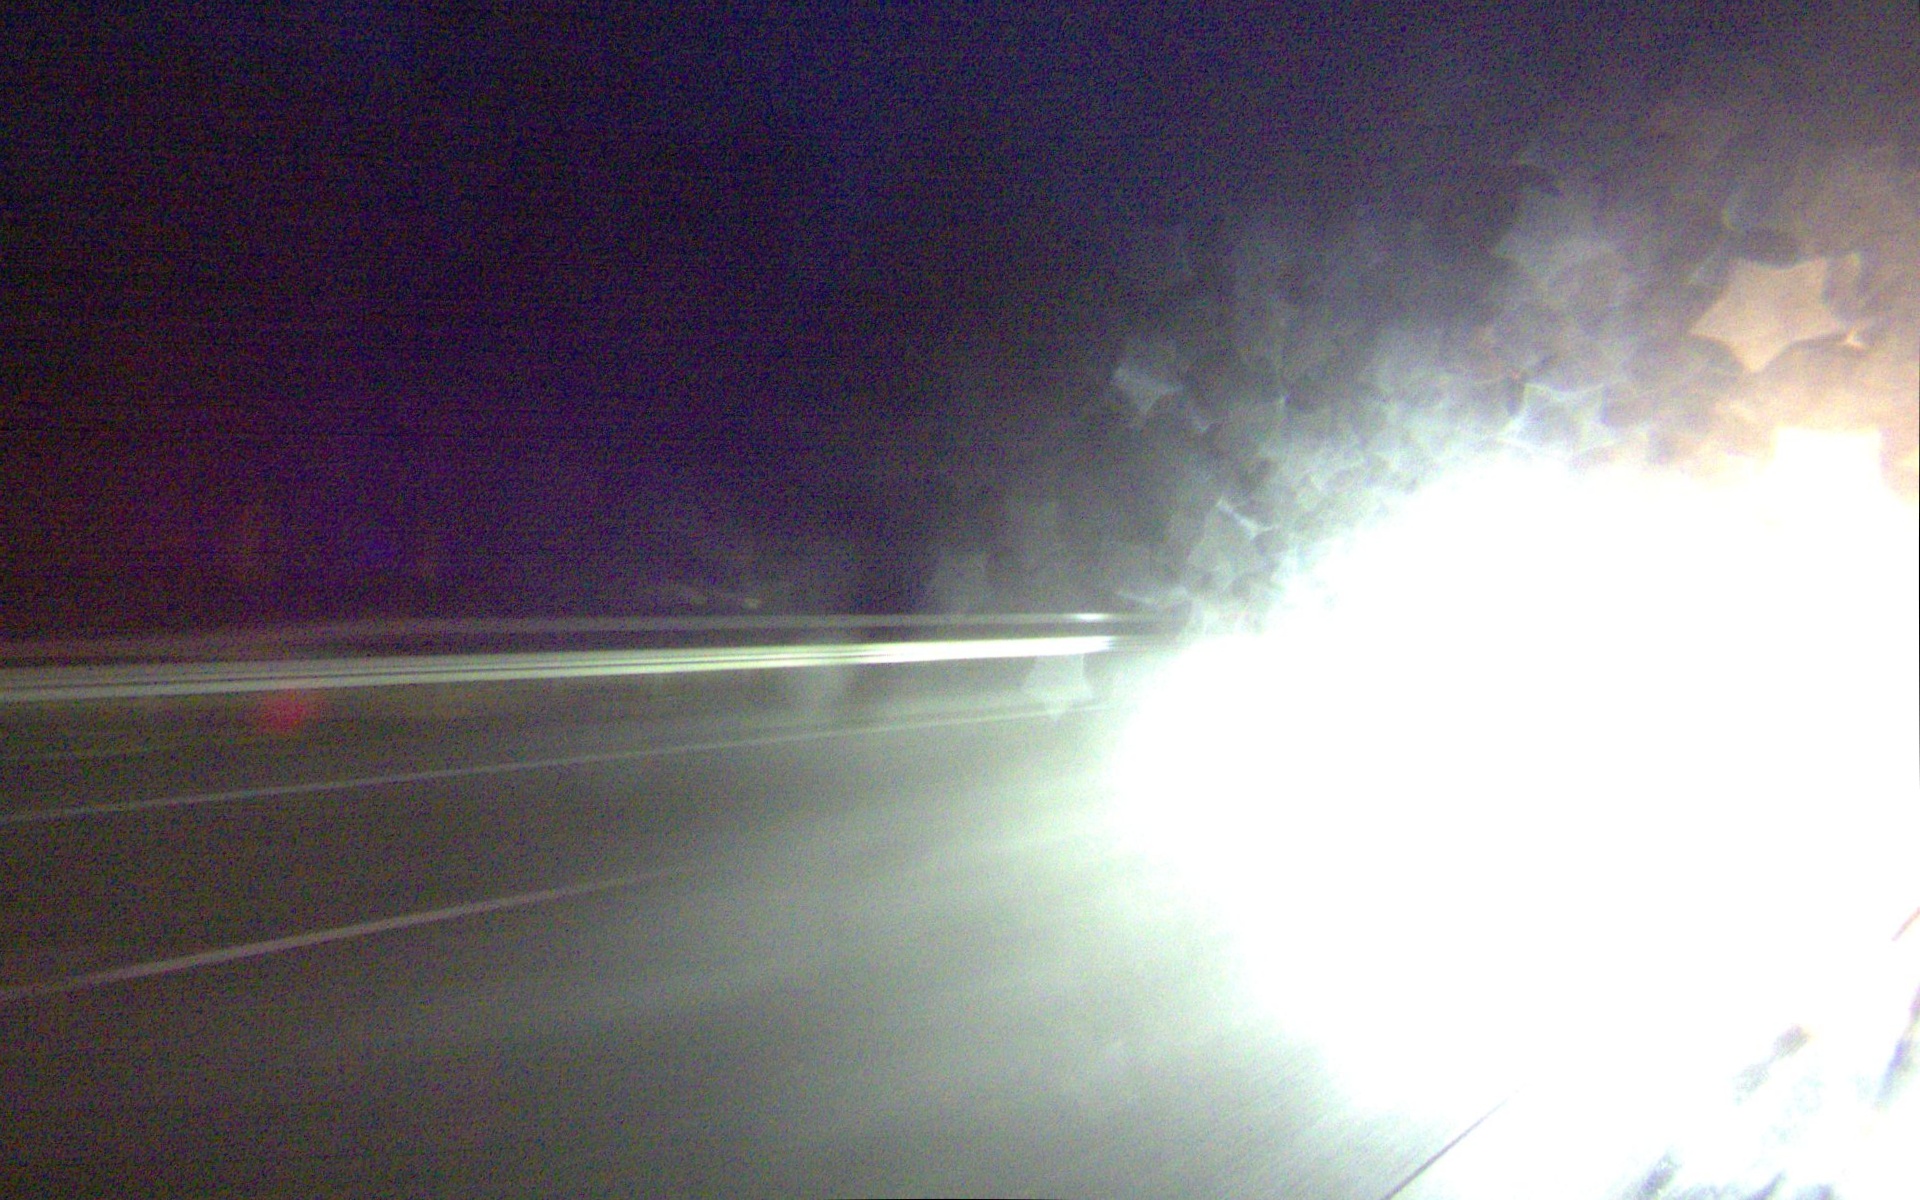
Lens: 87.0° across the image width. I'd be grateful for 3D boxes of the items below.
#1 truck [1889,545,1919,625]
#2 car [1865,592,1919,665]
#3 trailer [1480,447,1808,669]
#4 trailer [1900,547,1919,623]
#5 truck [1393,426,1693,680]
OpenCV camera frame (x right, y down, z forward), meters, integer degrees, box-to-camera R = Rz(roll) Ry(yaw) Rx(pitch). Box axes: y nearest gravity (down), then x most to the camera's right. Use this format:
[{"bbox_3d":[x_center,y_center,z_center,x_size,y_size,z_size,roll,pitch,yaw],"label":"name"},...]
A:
[{"bbox_3d":[53.817,-0.817,55.958,5.909,4.246,2.777,0,0,-40],"label":"truck"},{"bbox_3d":[21.654,0.593,22.595,3.700,1.522,1.619,-1,0,-40],"label":"car"},{"bbox_3d":[16.918,-0.834,24.281,13.398,4.149,2.871,-1,0,-40],"label":"trailer"},{"bbox_3d":[58.147,-0.843,59.552,10.979,4.246,2.752,0,0,-40],"label":"trailer"},{"bbox_3d":[11.606,-0.780,19.874,6.888,4.155,2.865,0,0,-40],"label":"truck"}]
